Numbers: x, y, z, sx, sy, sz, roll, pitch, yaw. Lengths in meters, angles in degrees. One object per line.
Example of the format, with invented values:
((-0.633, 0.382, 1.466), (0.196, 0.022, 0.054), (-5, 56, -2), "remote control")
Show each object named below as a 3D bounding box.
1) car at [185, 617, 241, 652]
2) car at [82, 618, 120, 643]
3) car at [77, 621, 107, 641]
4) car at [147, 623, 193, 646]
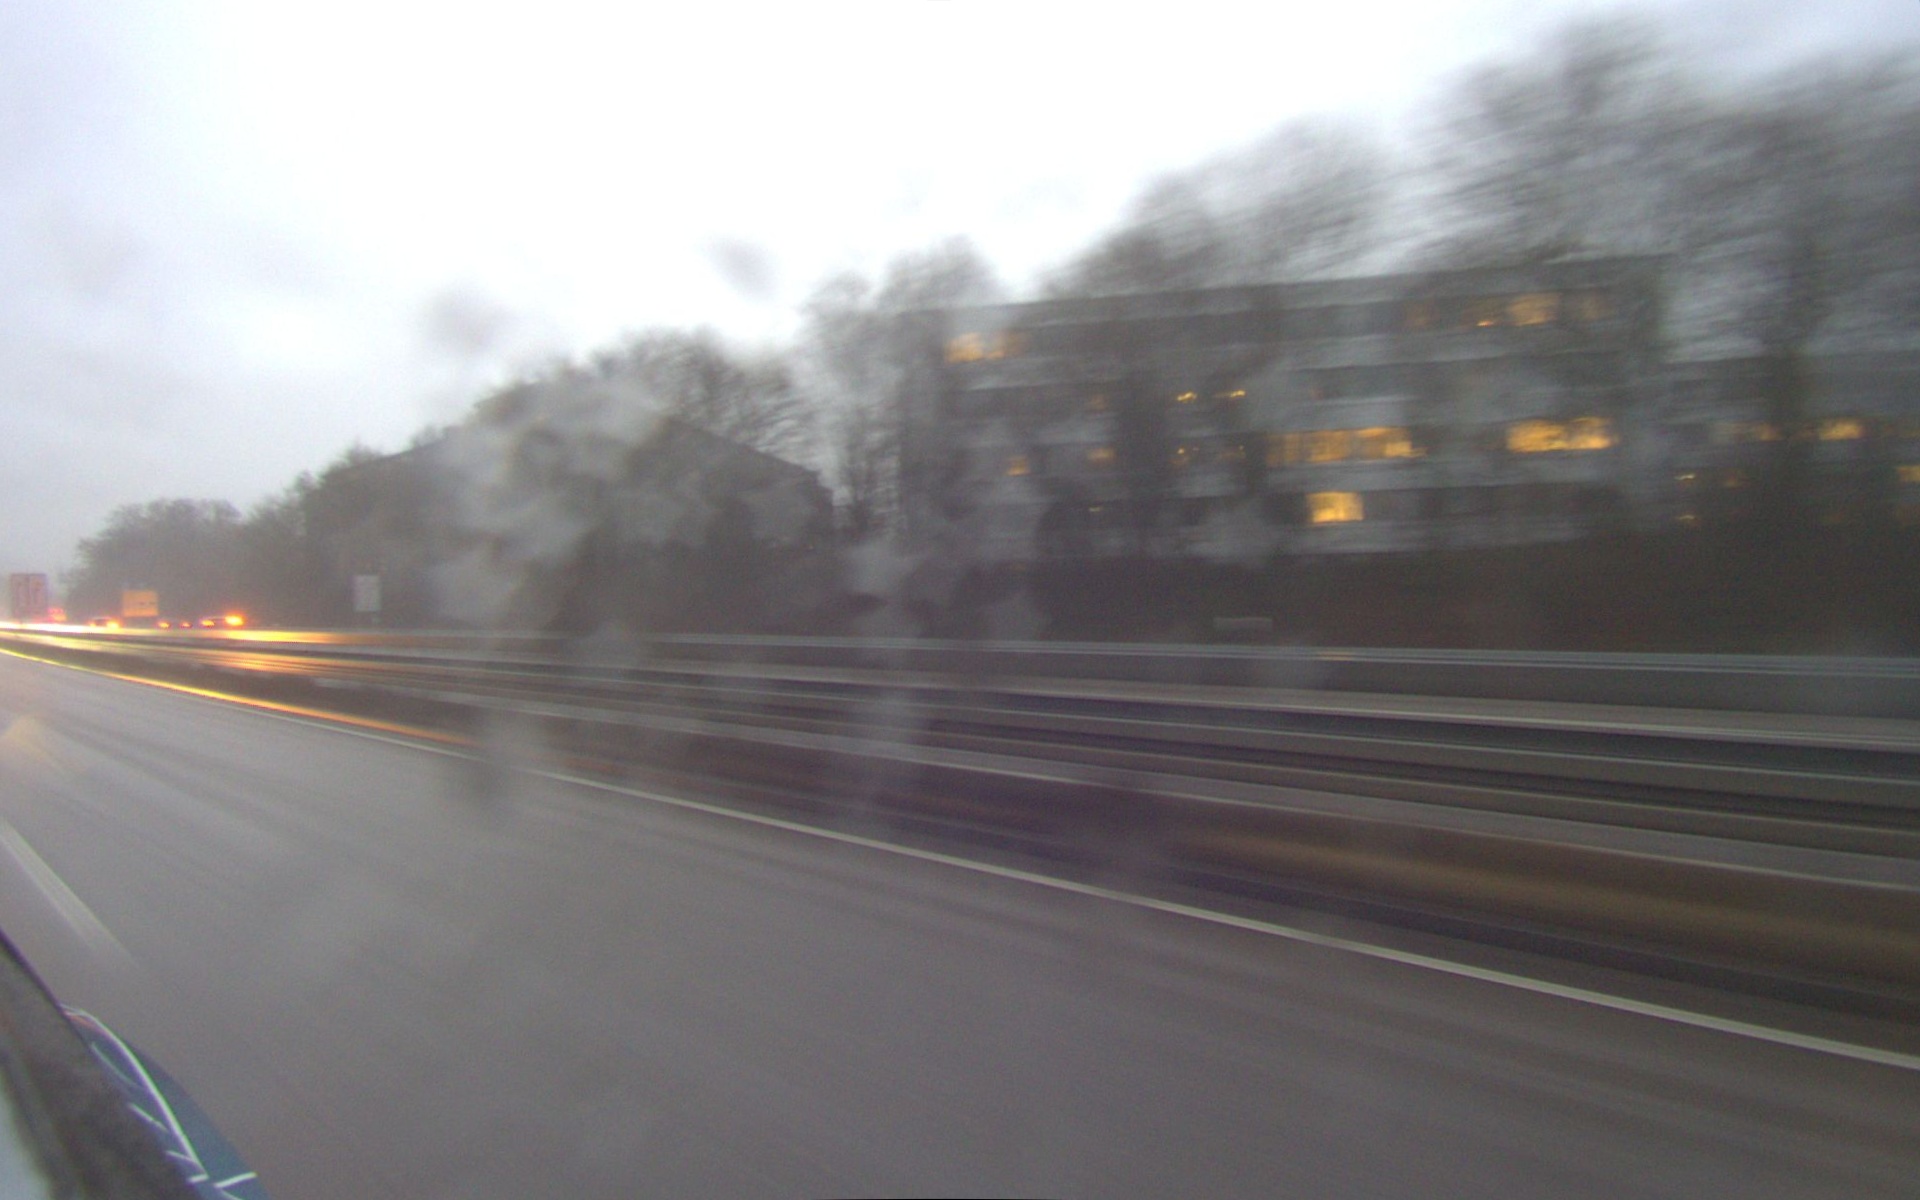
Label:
((-41.336, 1.899, 55.952), (4.206, 1.799, 1.627), (-2, 2, 42), "car")
((-66.651, 2.361, 78.495), (3.941, 1.766, 1.733), (-2, 2, 43), "car")
((-86.256, 3.080, 100.534), (1.970, 1.766, 4.904), (-4, 2, -43), "car")
((-60.357, 2.621, 77.302), (4.471, 1.692, 1.972), (-2, -3, 42), "car")
